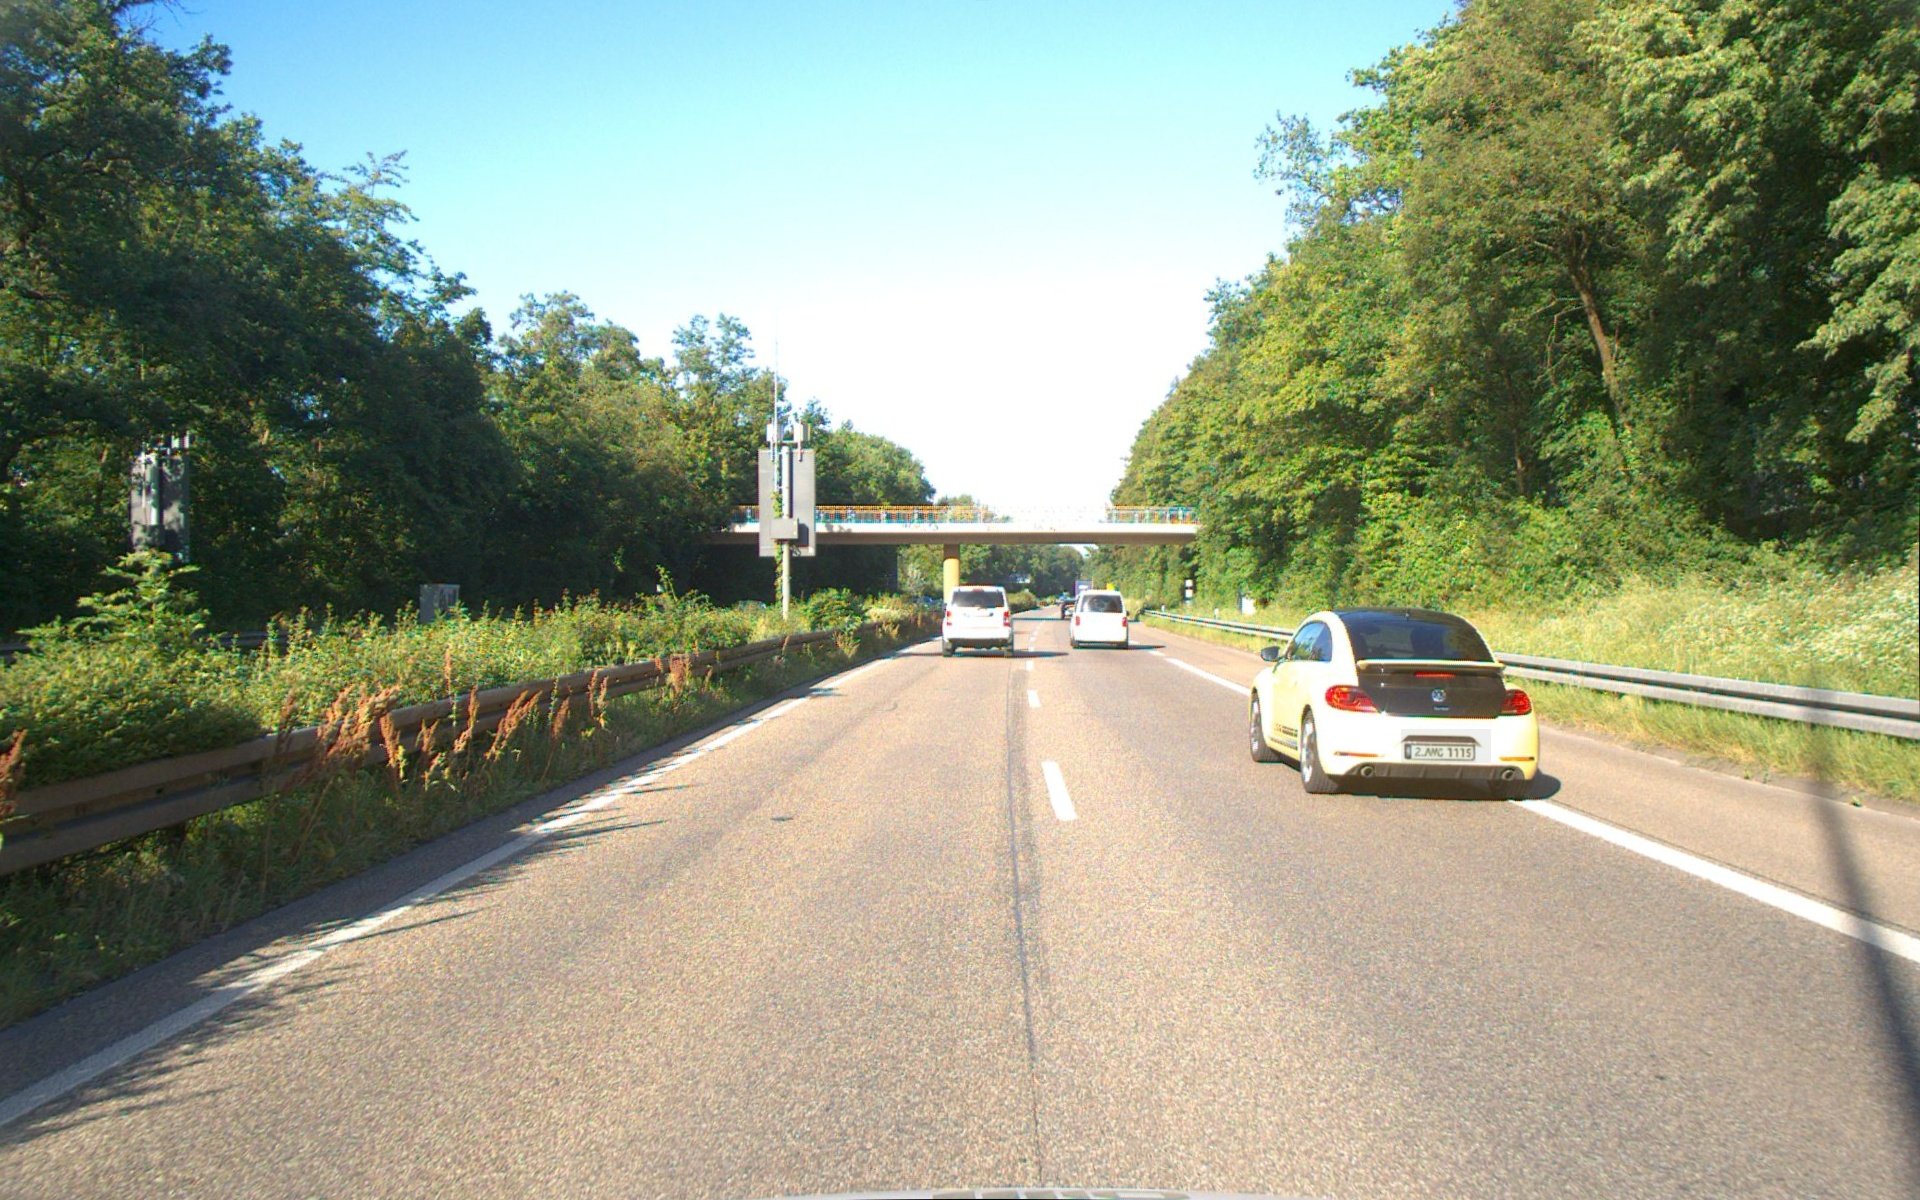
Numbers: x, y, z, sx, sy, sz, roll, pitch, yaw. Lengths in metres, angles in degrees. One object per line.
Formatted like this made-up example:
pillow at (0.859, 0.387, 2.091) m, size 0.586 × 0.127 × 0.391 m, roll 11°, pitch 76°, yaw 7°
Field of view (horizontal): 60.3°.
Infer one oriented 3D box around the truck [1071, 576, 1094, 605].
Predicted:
truck at (18.528, -1.368, 249.713) m, size 3.422 × 4.246 × 8.866 m, roll 0°, pitch 0°, yaw 4°

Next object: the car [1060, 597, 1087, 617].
car at (8.541, 0.529, 124.309) m, size 1.951 × 1.422 × 4.002 m, roll 0°, pitch 0°, yaw 4°

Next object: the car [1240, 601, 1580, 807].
car at (3.709, 0.772, 14.450) m, size 1.841 × 1.487 × 4.356 m, roll 1°, pitch 0°, yaw 1°

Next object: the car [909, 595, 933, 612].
car at (-3.835, 0.363, 164.793) m, size 1.919 × 1.688 × 5.043 m, roll 0°, pitch 0°, yaw 4°

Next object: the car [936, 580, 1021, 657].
car at (0.490, 0.456, 42.762) m, size 2.042 × 1.860 × 4.000 m, roll 2°, pitch 0°, yaw 1°

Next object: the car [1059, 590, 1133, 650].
car at (4.254, 0.605, 52.307) m, size 1.826 × 1.801 × 4.468 m, roll 0°, pitch 0°, yaw -2°
